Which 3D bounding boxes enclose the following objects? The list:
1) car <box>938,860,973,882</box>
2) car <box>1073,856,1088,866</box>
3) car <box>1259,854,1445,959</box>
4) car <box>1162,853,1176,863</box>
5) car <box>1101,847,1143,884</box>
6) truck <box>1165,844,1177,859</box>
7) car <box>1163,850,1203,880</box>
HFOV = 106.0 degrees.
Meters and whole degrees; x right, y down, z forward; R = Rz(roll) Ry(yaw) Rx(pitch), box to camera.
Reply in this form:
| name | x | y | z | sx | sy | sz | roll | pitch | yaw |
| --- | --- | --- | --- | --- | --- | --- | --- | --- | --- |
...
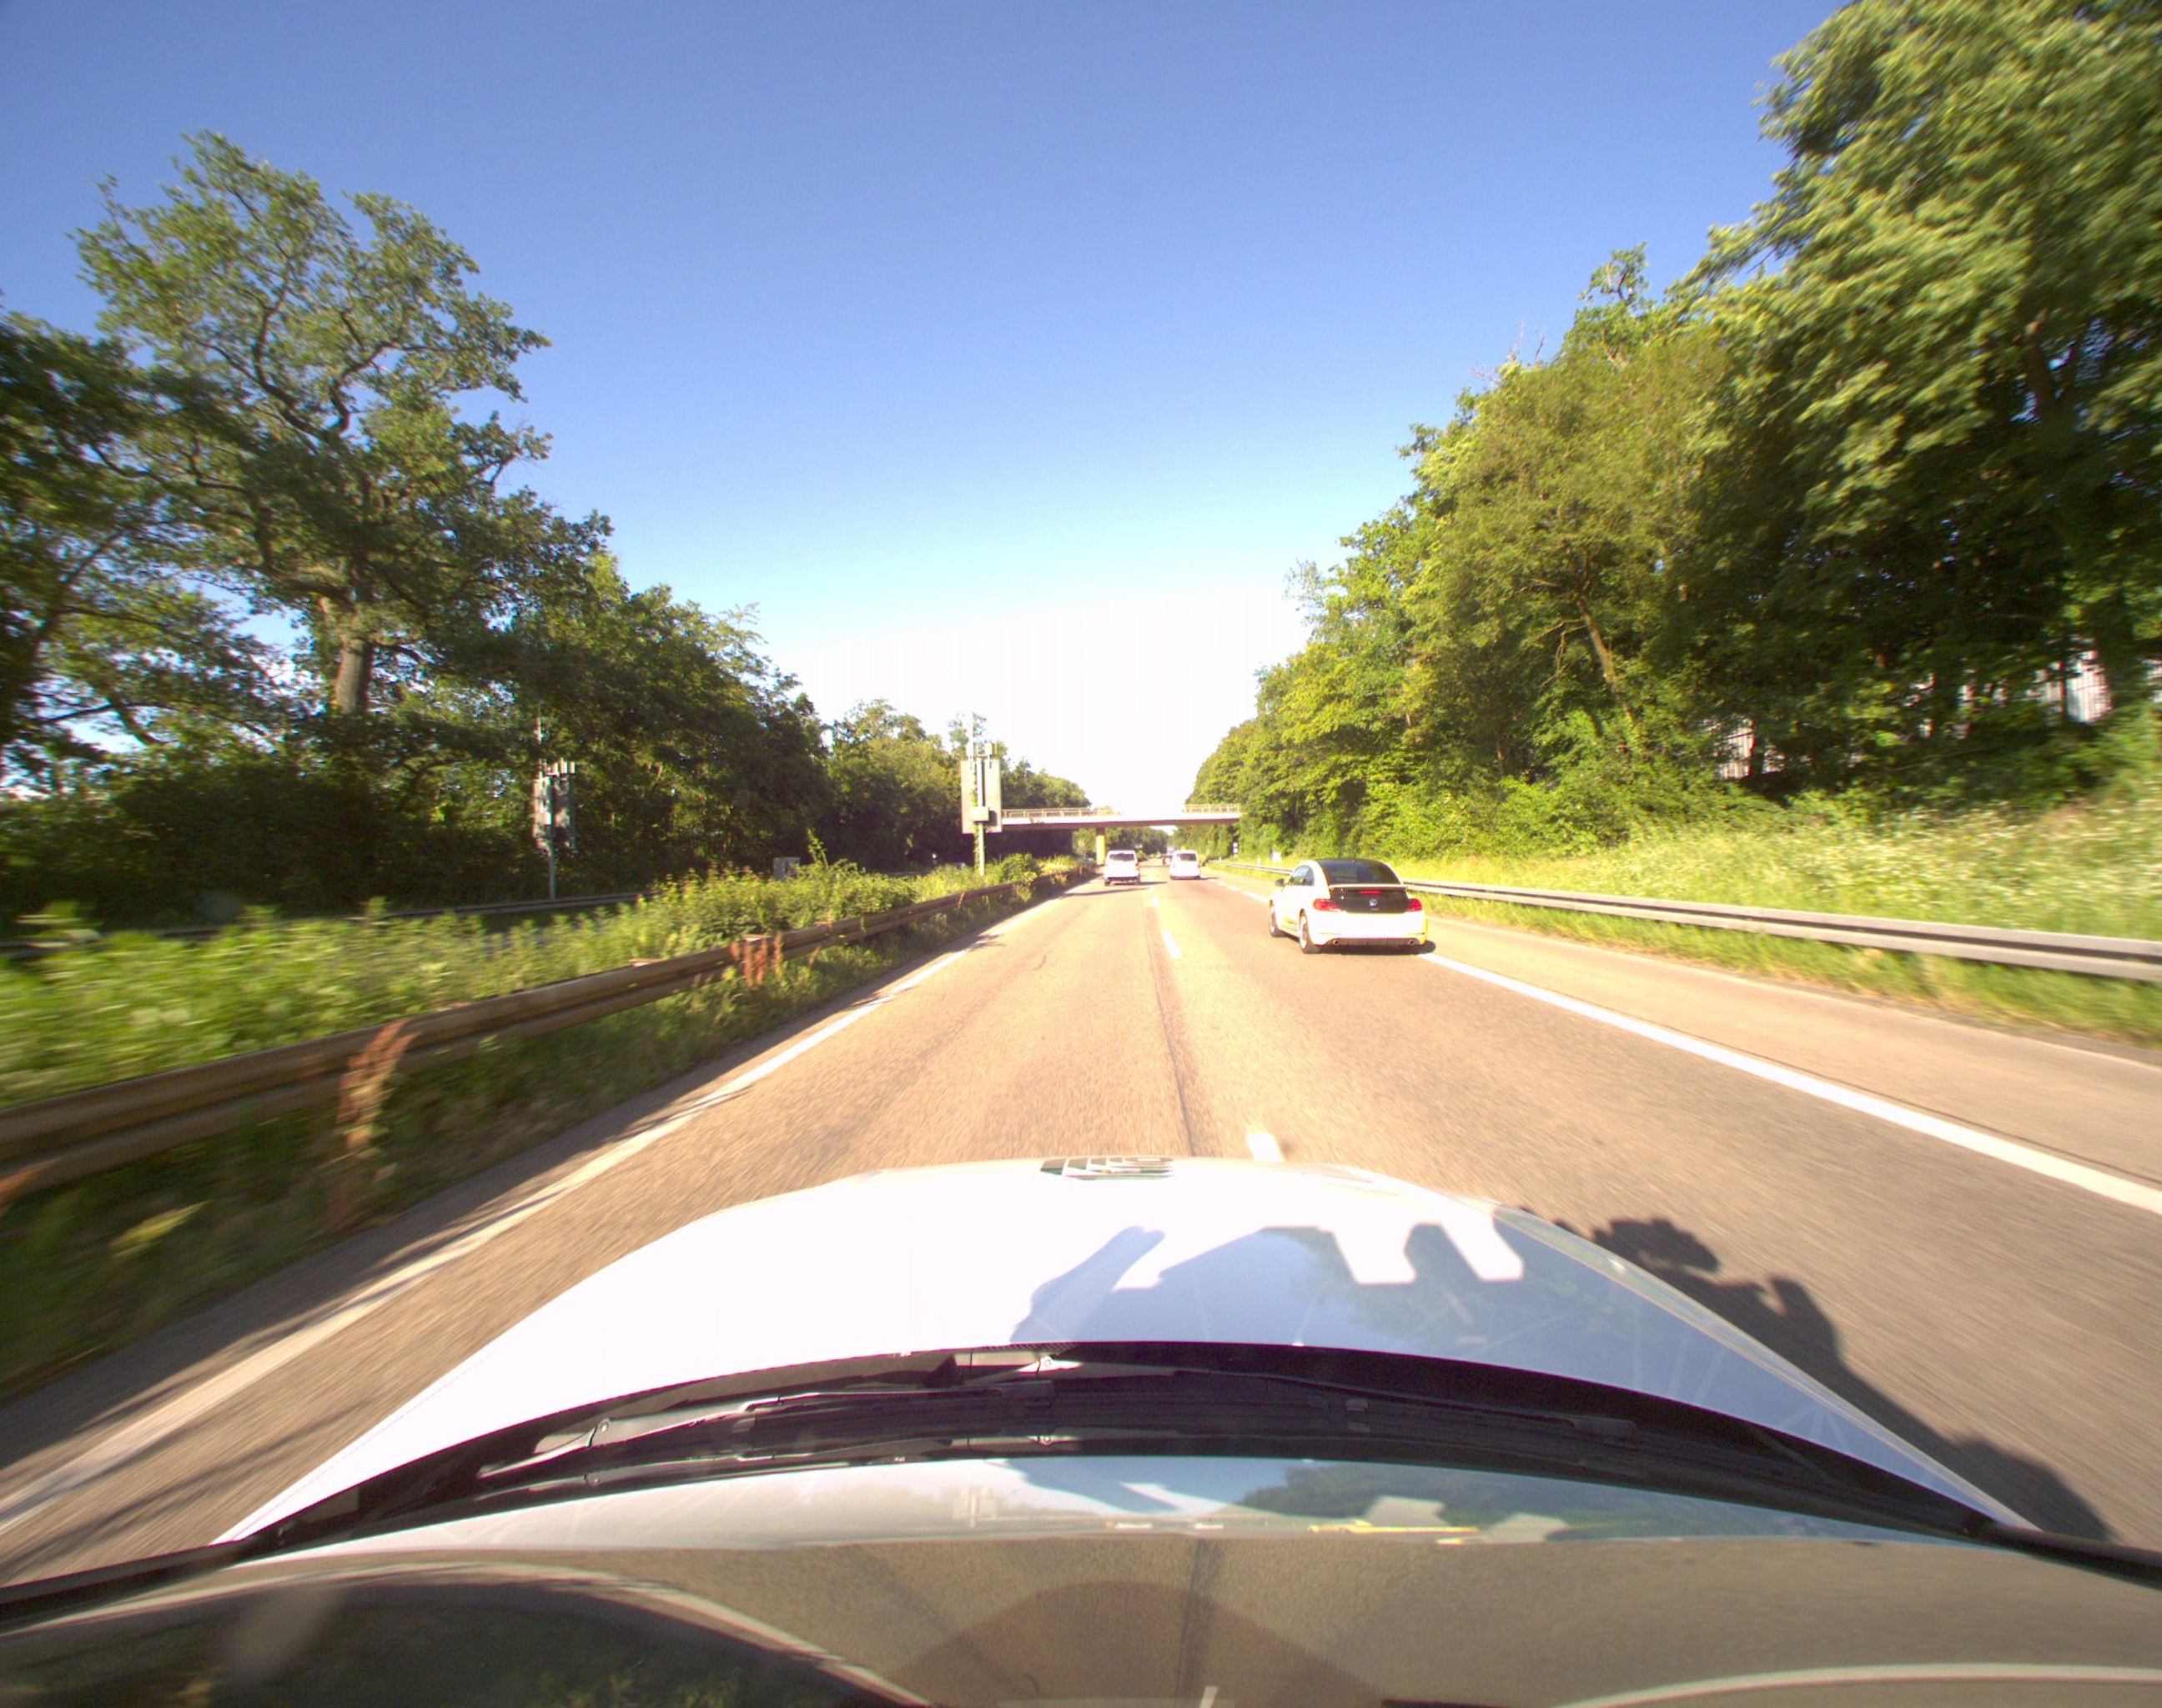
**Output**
| name | x | y | z | sx | sy | sz | roll | pitch | yaw |
| --- | --- | --- | --- | --- | --- | --- | --- | --- | --- |
| car | -8.994 | 1.204 | 58.675 | 1.702 | 1.424 | 4.135 | -2 | 0 | 3 |
| car | -0.080 | 1.231 | 144.667 | 1.951 | 1.659 | 5.049 | -2 | 0 | 6 |
| car | 4.328 | 0.755 | 13.763 | 1.872 | 1.461 | 4.359 | -1 | 0 | 3 |
| car | 13.357 | 0.635 | 123.958 | 1.983 | 1.398 | 4.007 | -2 | 0 | 6 |
| car | 2.138 | 0.590 | 42.420 | 2.077 | 1.828 | 4.003 | 0 | 0 | 2 |
| truck | 27.363 | -0.714 | 248.618 | 3.478 | 4.173 | 8.877 | -2 | 0 | 6 |
| car | 6.300 | 0.673 | 50.907 | 1.858 | 1.770 | 4.468 | -2 | 0 | 0 |
